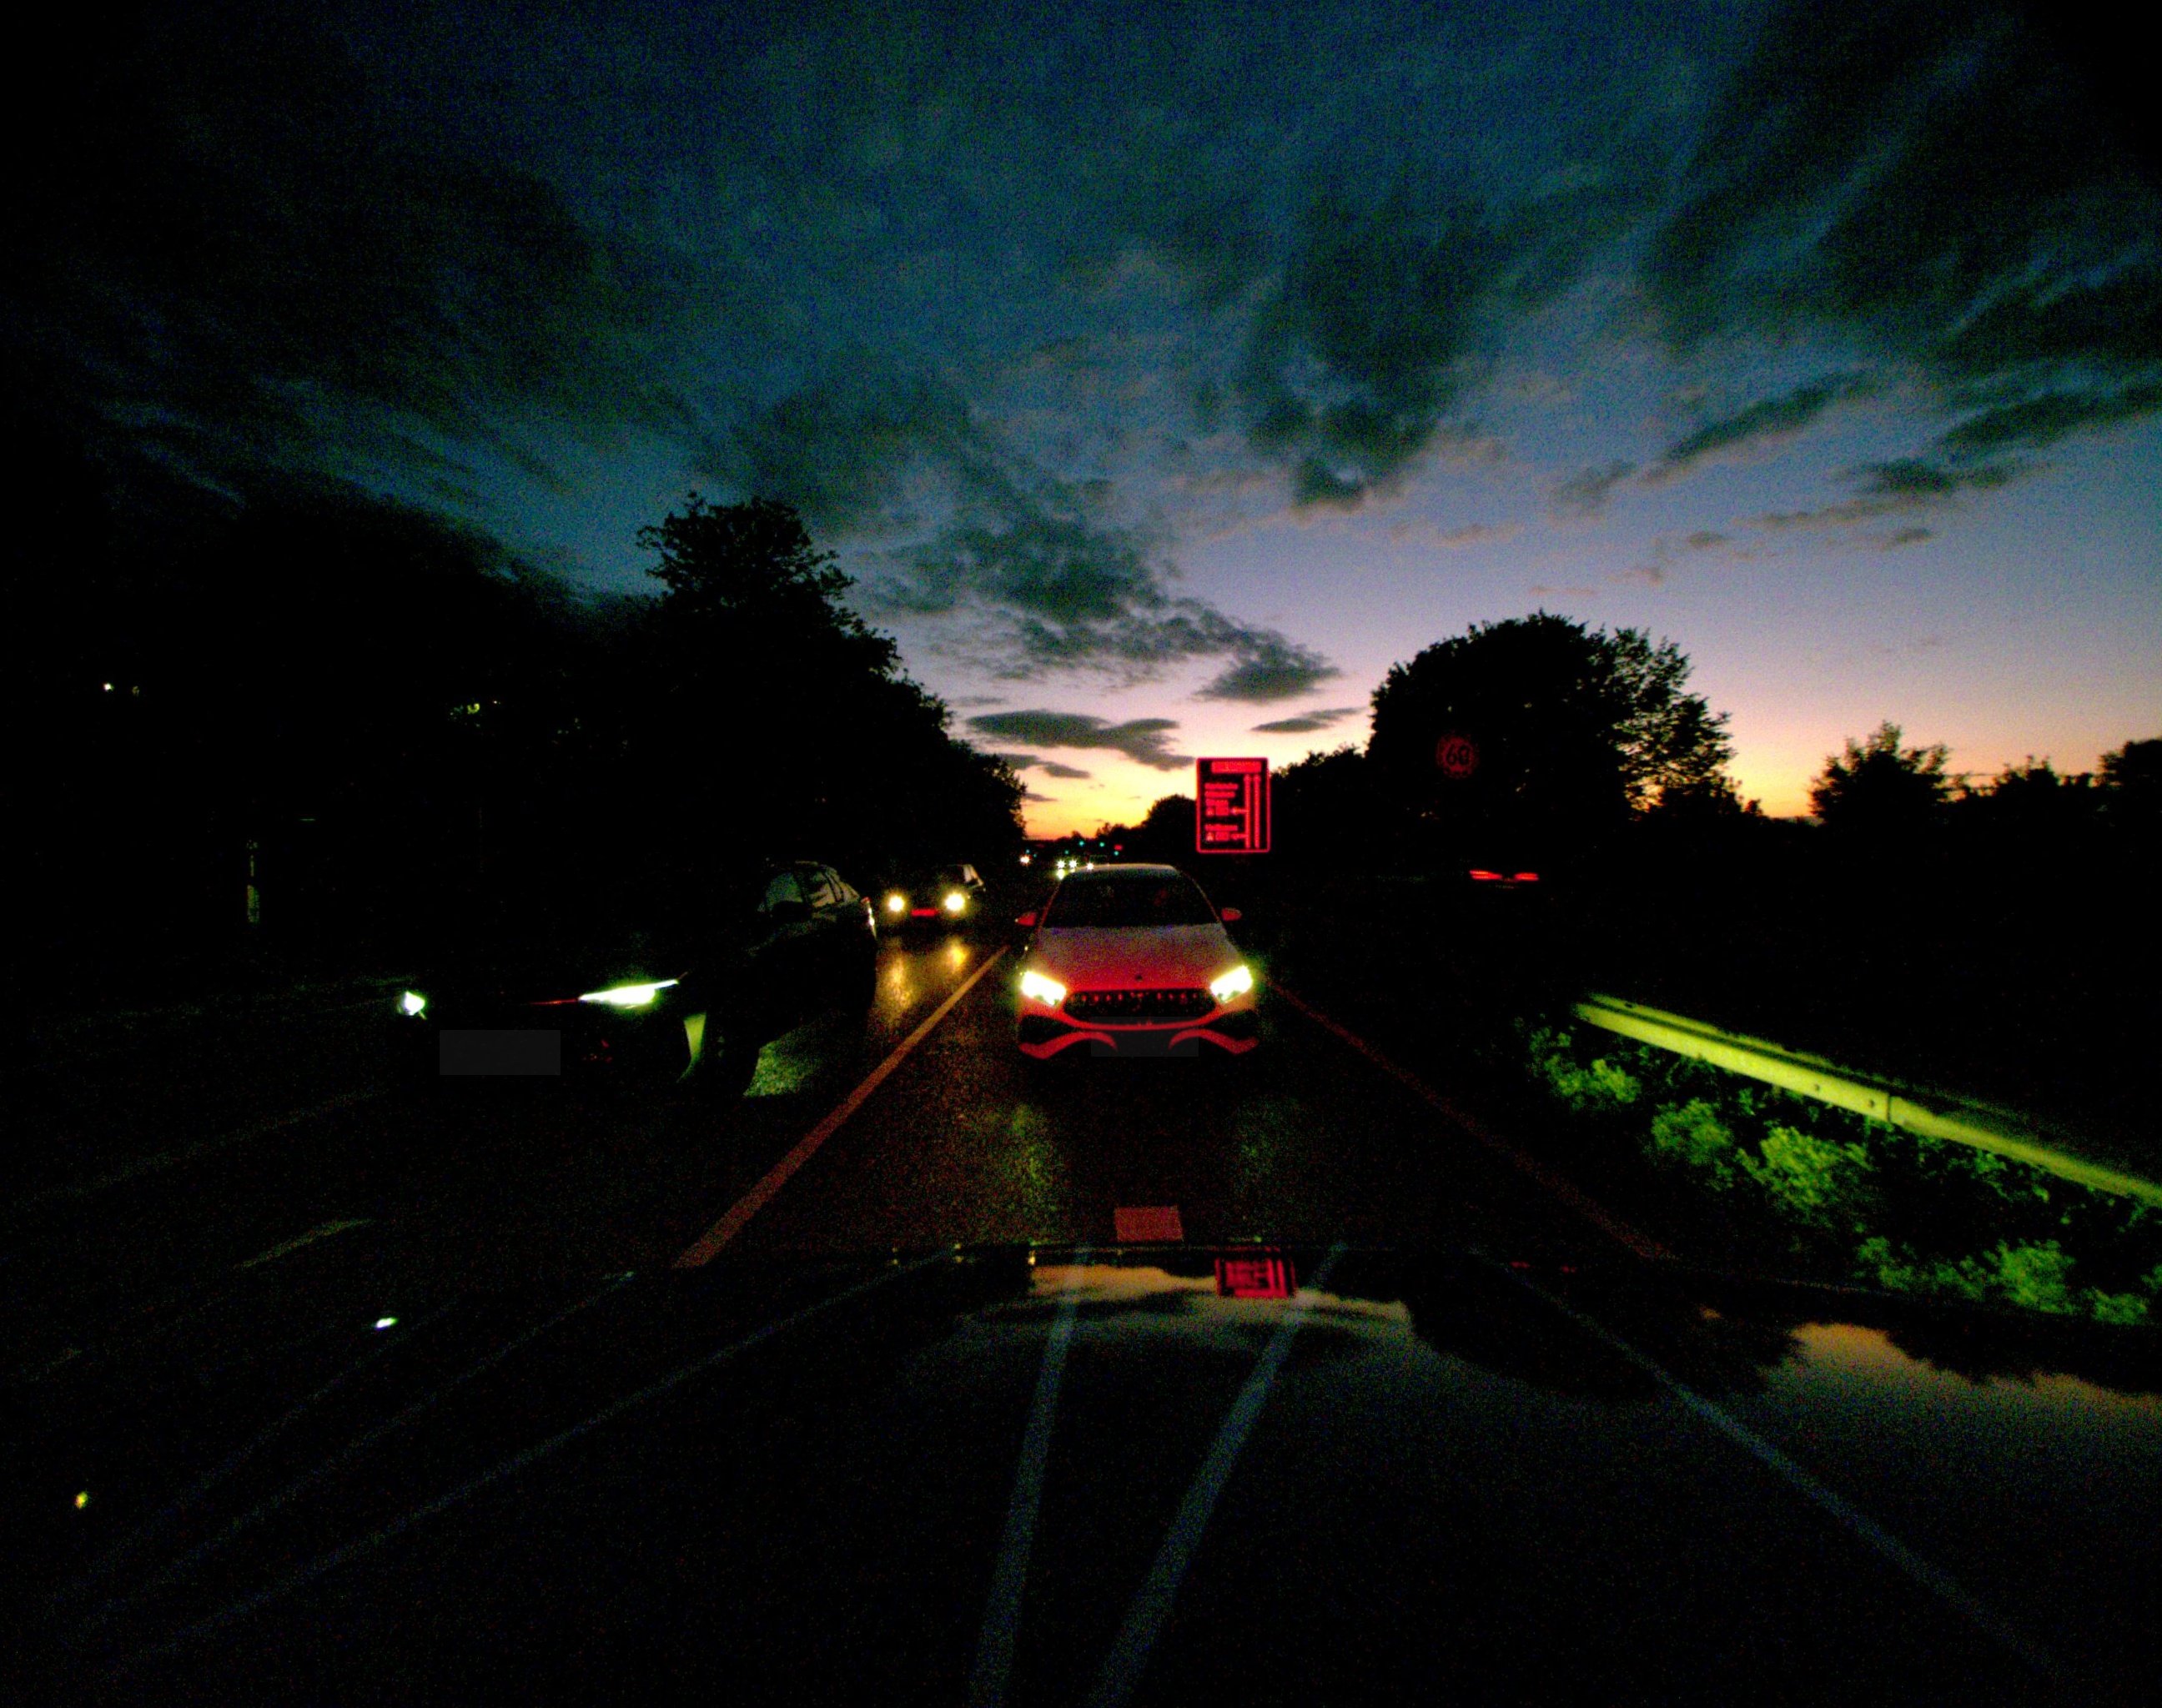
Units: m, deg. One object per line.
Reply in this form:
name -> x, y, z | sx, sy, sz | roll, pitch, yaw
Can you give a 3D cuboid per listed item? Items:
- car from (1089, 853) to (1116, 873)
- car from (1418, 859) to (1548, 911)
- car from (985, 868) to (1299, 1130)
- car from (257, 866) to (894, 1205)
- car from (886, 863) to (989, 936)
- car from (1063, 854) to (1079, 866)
car -> 1.743, 0.711, 62.310 | 1.999, 1.602, 4.501 | -1, 0, -1
car -> 12.887, 0.934, 24.711 | 1.998, 1.510, 4.297 | -1, 0, 1
car -> 0.377, 0.938, 6.954 | 1.901, 1.472, 4.514 | -2, 0, 0
car -> -3.174, 0.973, 6.254 | 1.998, 1.600, 4.711 | -2, 0, 1
car -> -3.284, 0.992, 18.101 | 1.624, 1.460, 3.871 | -2, 0, 1
car -> -1.284, 0.778, 95.218 | 1.999, 1.423, 4.501 | 0, 0, -1
